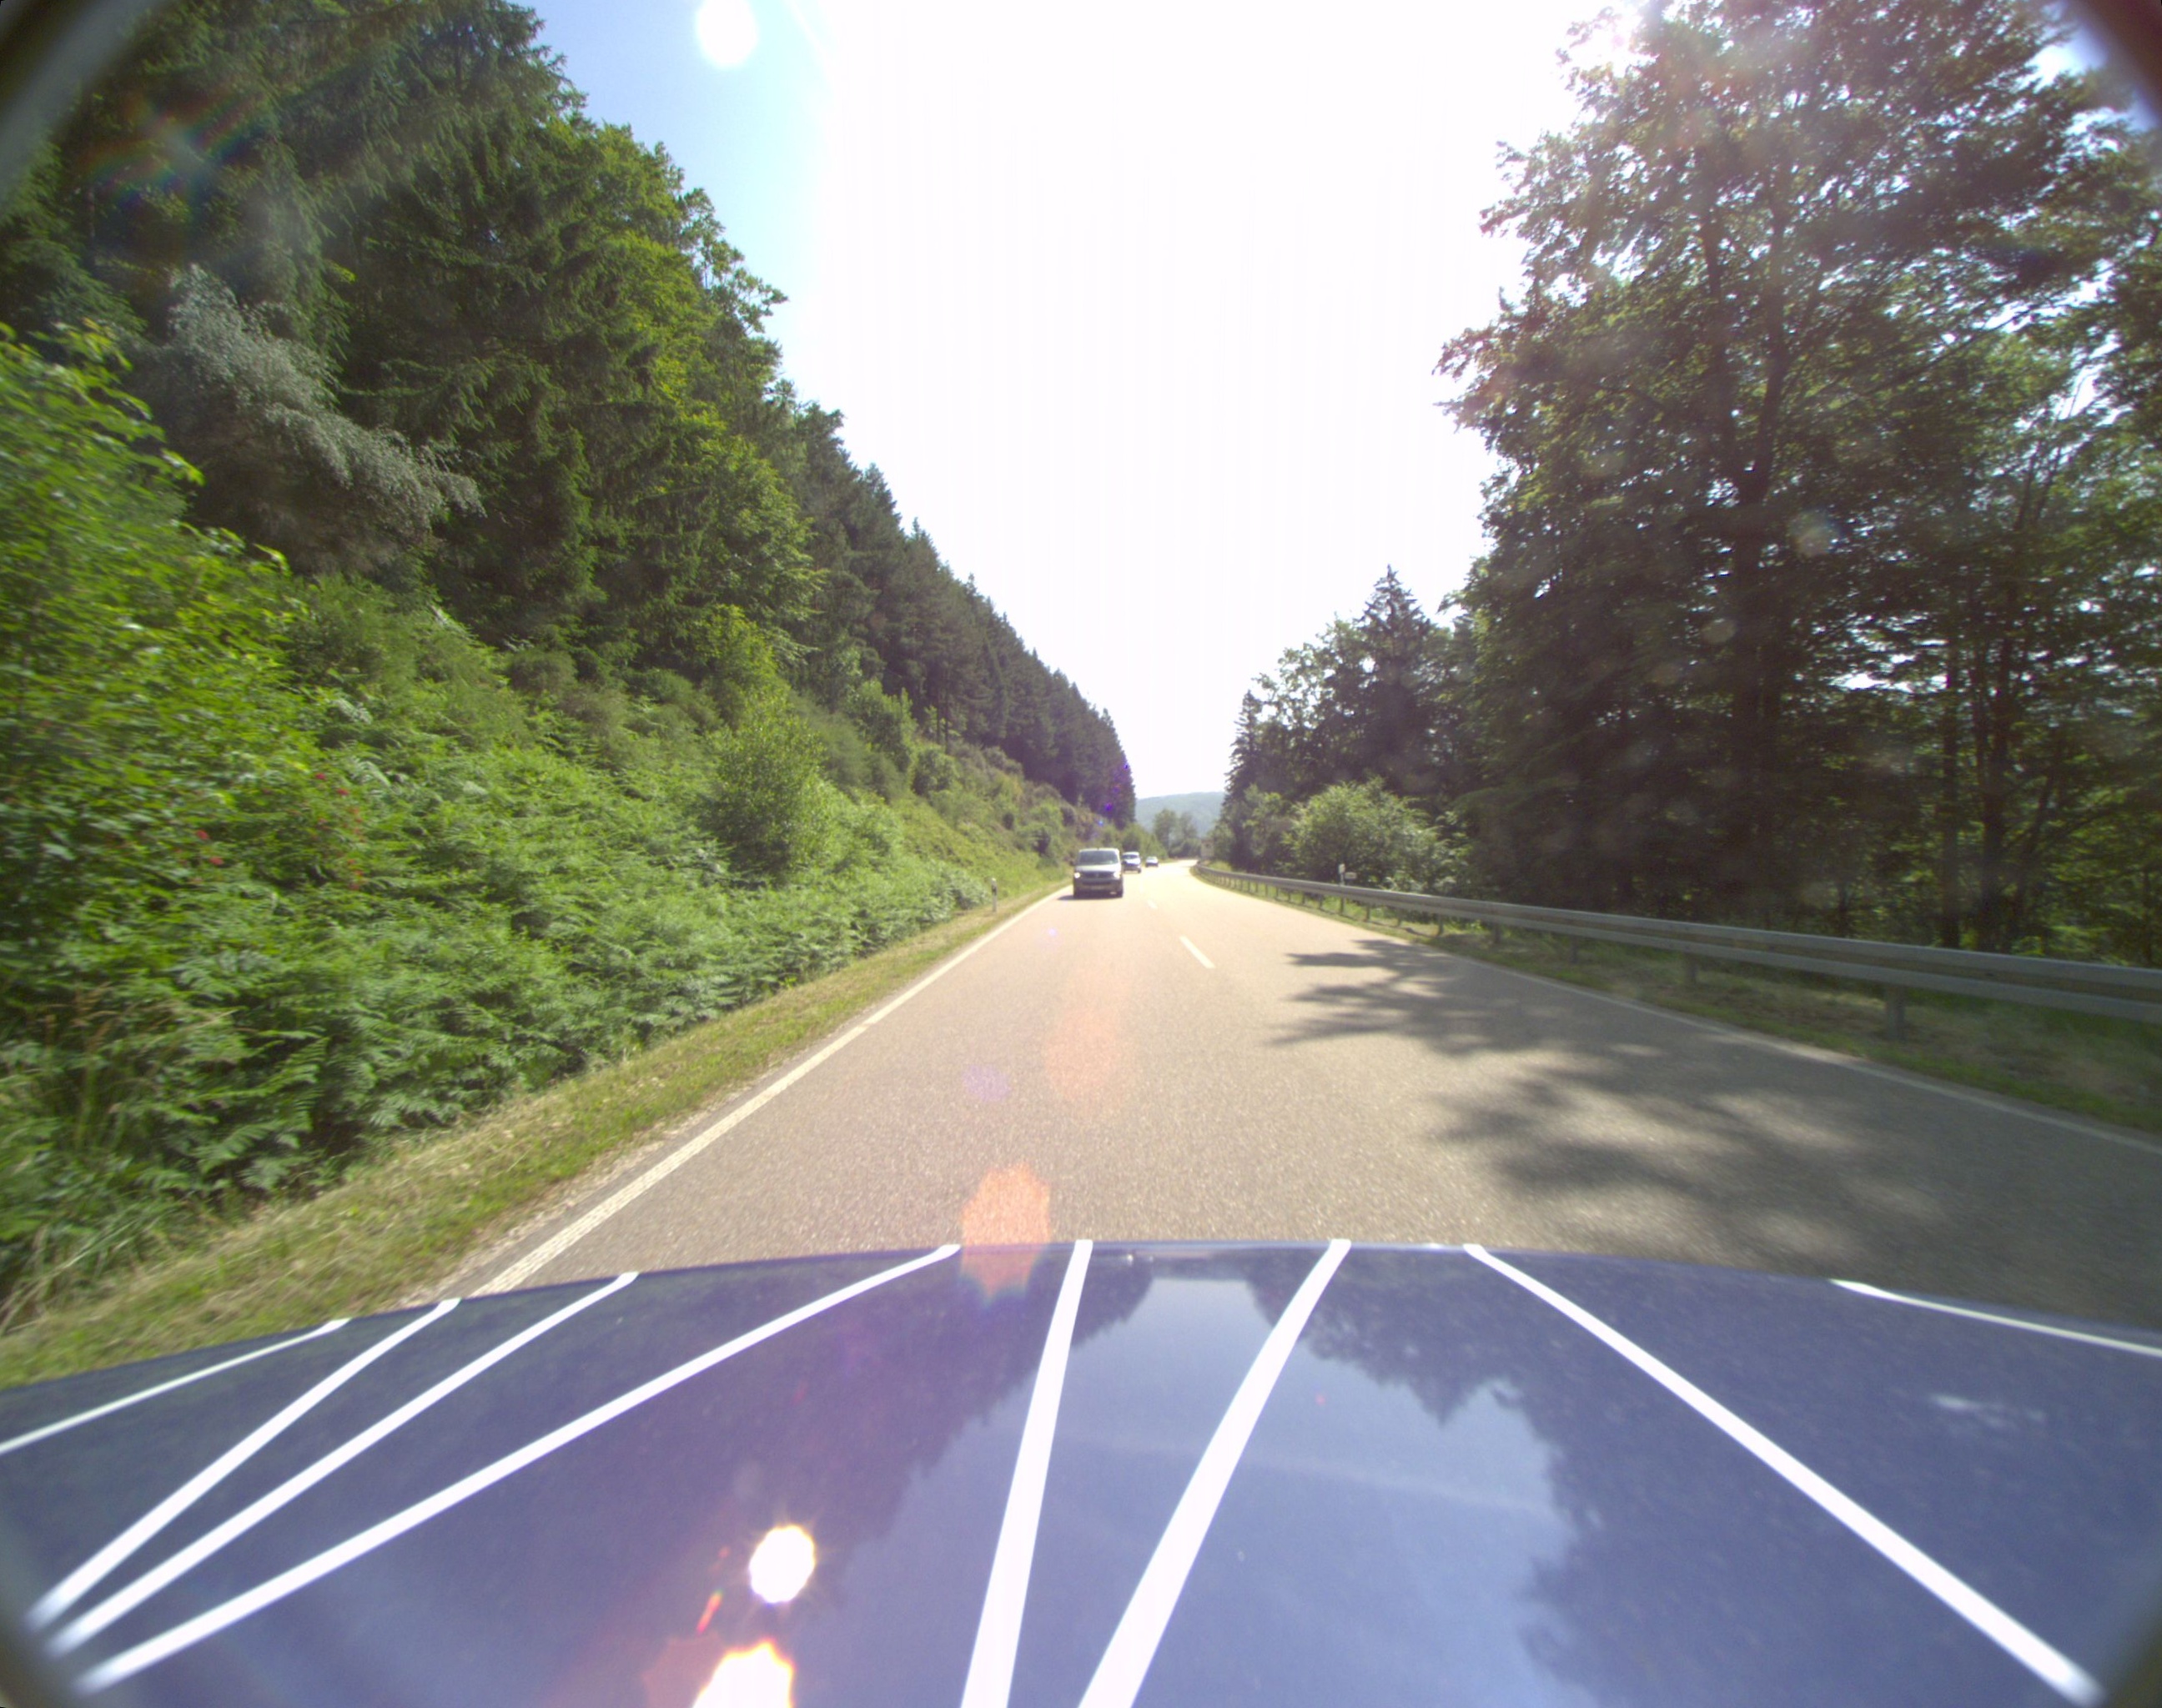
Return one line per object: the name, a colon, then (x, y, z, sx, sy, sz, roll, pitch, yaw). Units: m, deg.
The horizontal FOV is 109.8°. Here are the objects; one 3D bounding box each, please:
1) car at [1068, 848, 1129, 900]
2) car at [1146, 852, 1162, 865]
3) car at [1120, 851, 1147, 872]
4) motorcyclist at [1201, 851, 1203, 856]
car: (0.796, 0.740, 30.320, 1.989, 1.899, 4.762, -1, 0, 6)
car: (10.230, 0.618, 106.685, 1.997, 1.718, 4.003, -1, 0, 9)
car: (4.906, 0.643, 70.646, 2.136, 1.824, 4.725, -2, 0, 8)
motorcyclist: (34.588, -0.122, 216.981, 0.659, 1.504, 0.935, -1, 0, 13)
